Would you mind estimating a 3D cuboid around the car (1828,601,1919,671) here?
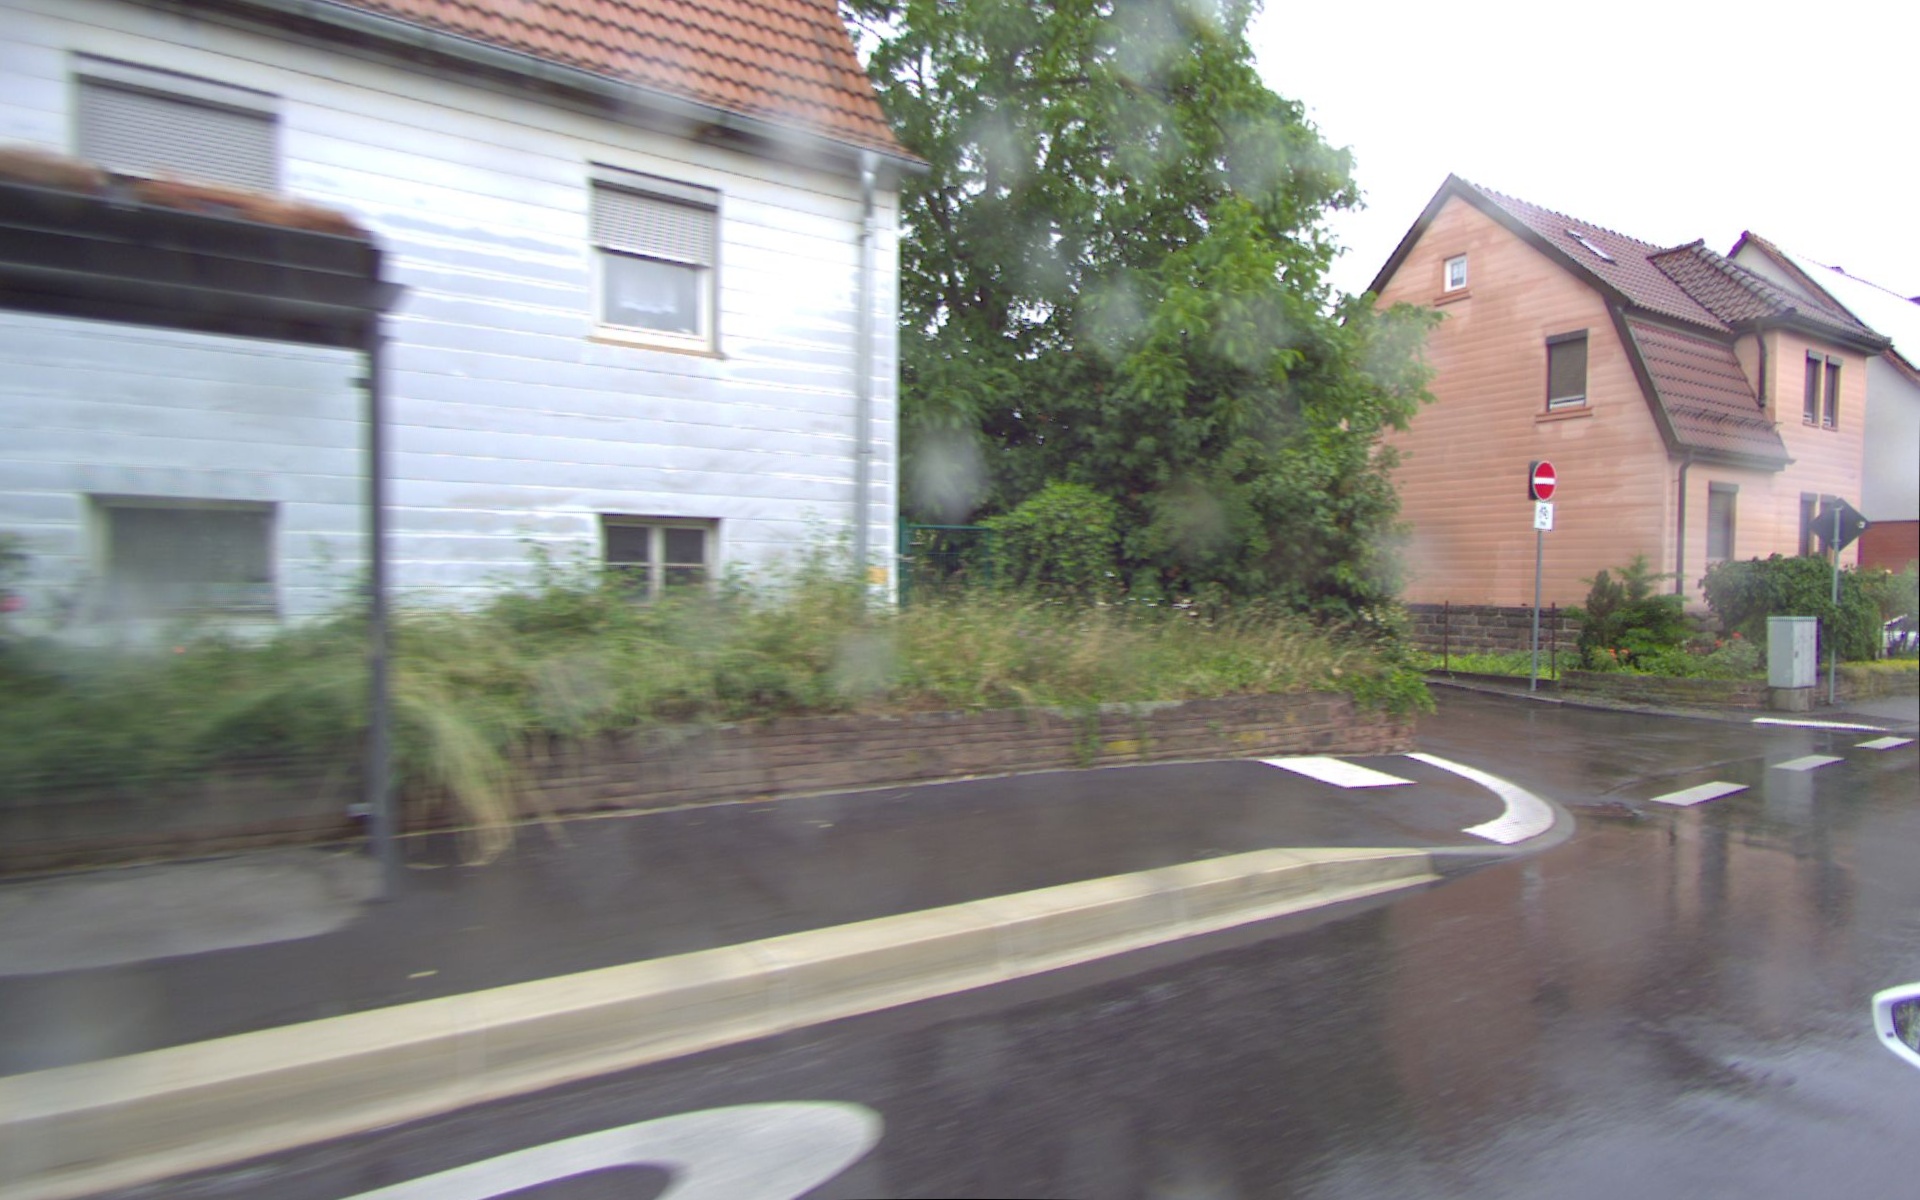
[{"bbox_3d":[23.180,0.906,23.824,1.644,1.550,3.527,1,2,-30],"label":"car"}]
